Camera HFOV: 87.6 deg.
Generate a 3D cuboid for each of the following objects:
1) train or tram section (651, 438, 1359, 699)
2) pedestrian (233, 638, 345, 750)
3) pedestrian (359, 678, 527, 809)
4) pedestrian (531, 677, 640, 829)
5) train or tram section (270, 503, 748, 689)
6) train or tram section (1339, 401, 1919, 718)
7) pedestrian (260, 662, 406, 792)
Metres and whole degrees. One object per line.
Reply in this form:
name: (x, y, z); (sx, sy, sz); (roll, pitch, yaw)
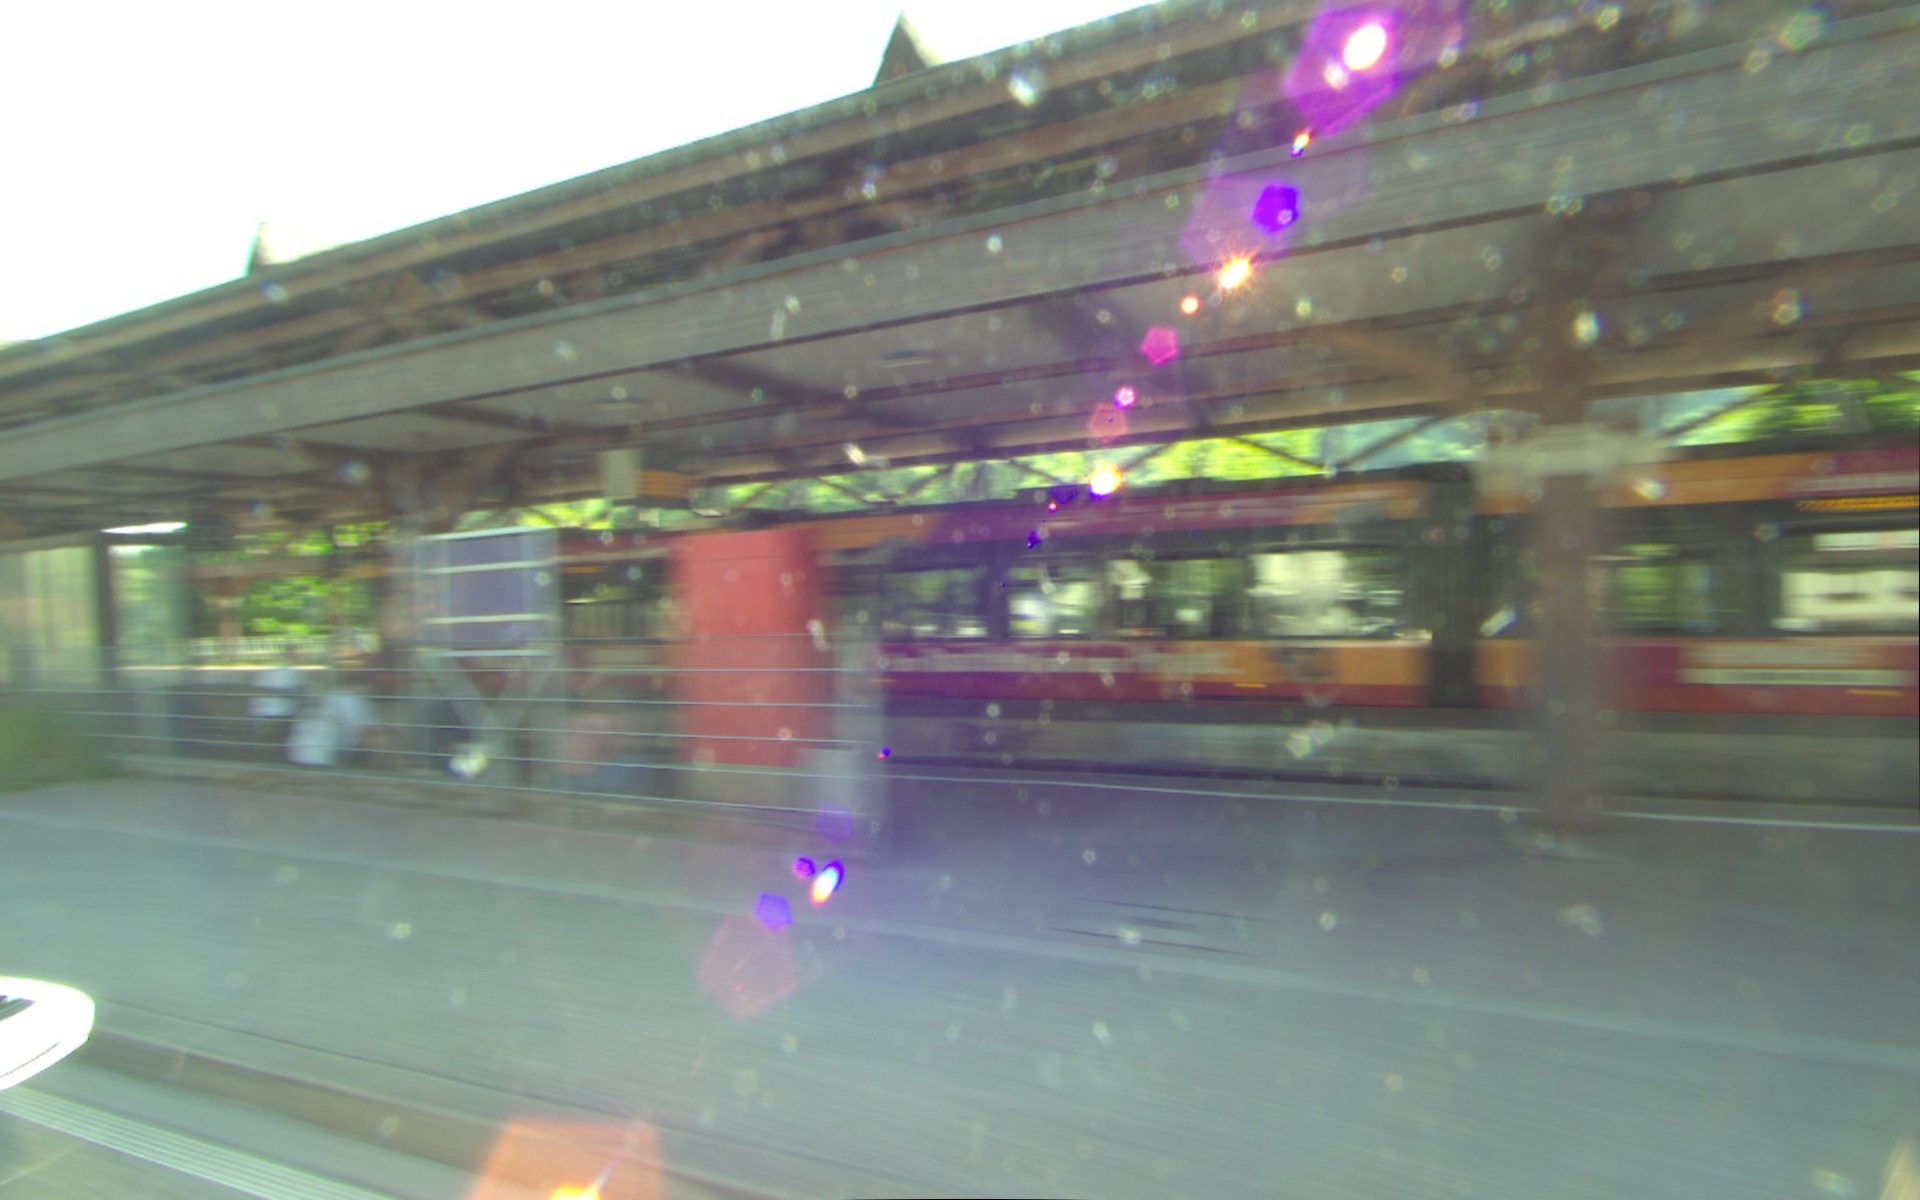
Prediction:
train or tram section: (0.278, -0.234, 16.939); (11.856, 3.407, 2.786); (-1, -2, 26)
pedestrian: (-7.139, 0.975, 10.668); (0.656, 1.131, 0.743); (1, -1, 23)
pedestrian: (-4.017, 1.082, 7.817); (0.794, 0.885, 0.845); (1, -1, 23)
pedestrian: (-2.639, 1.056, 7.086); (0.400, 0.978, 0.617); (1, -1, 23)
train or tram section: (-10.326, 0.004, 22.201); (11.854, 3.407, 2.756); (0, -1, 26)
train or tram section: (11.995, -0.437, 11.537); (14.118, 3.409, 2.856); (-1, -1, 25)
pedestrian: (-5.304, 1.047, 8.494); (0.756, 0.995, 0.743); (1, -1, 23)
